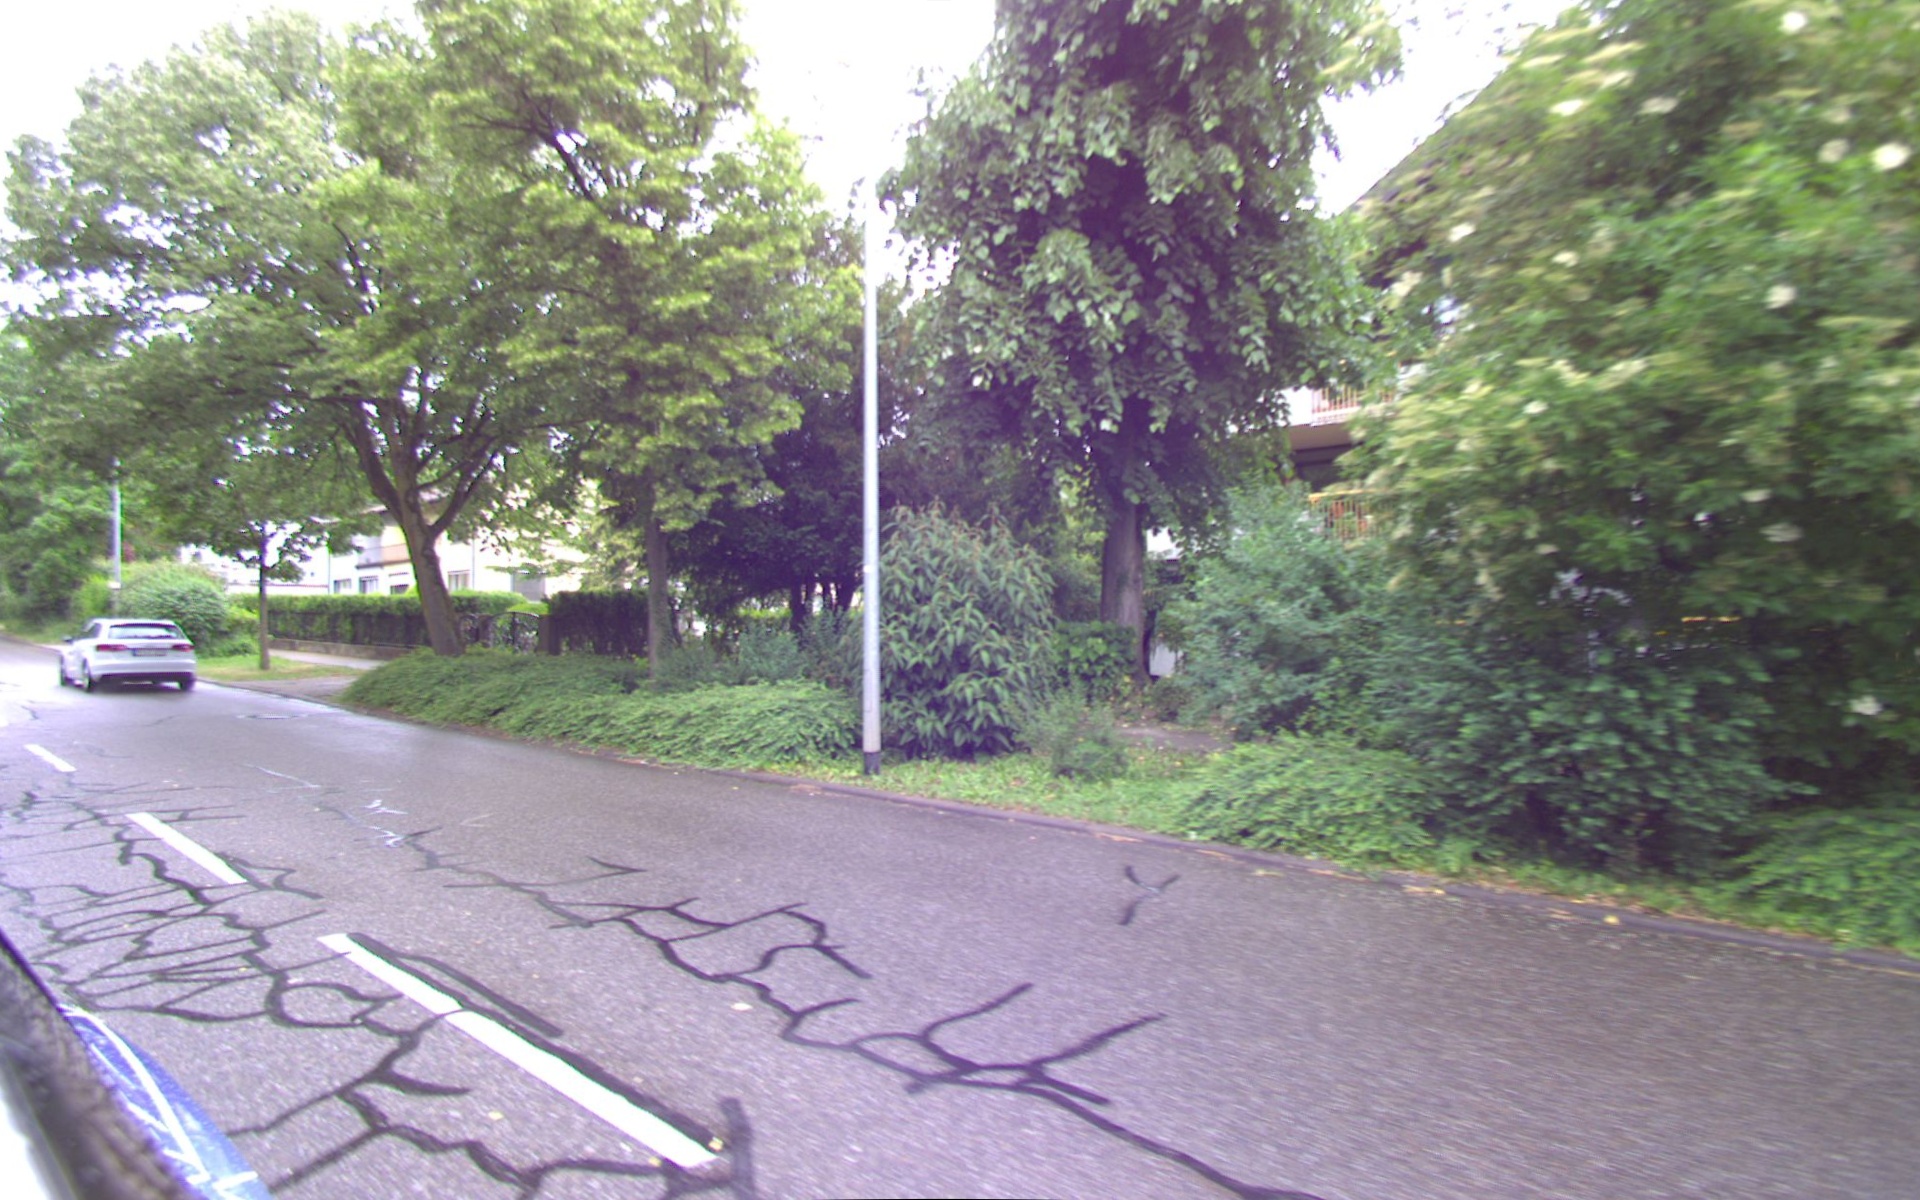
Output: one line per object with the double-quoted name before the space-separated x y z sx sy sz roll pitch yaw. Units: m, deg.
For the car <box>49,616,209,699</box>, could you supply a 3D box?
"car" -17.063 1.114 20.731 4.064 1.490 1.802 0 -2 40
